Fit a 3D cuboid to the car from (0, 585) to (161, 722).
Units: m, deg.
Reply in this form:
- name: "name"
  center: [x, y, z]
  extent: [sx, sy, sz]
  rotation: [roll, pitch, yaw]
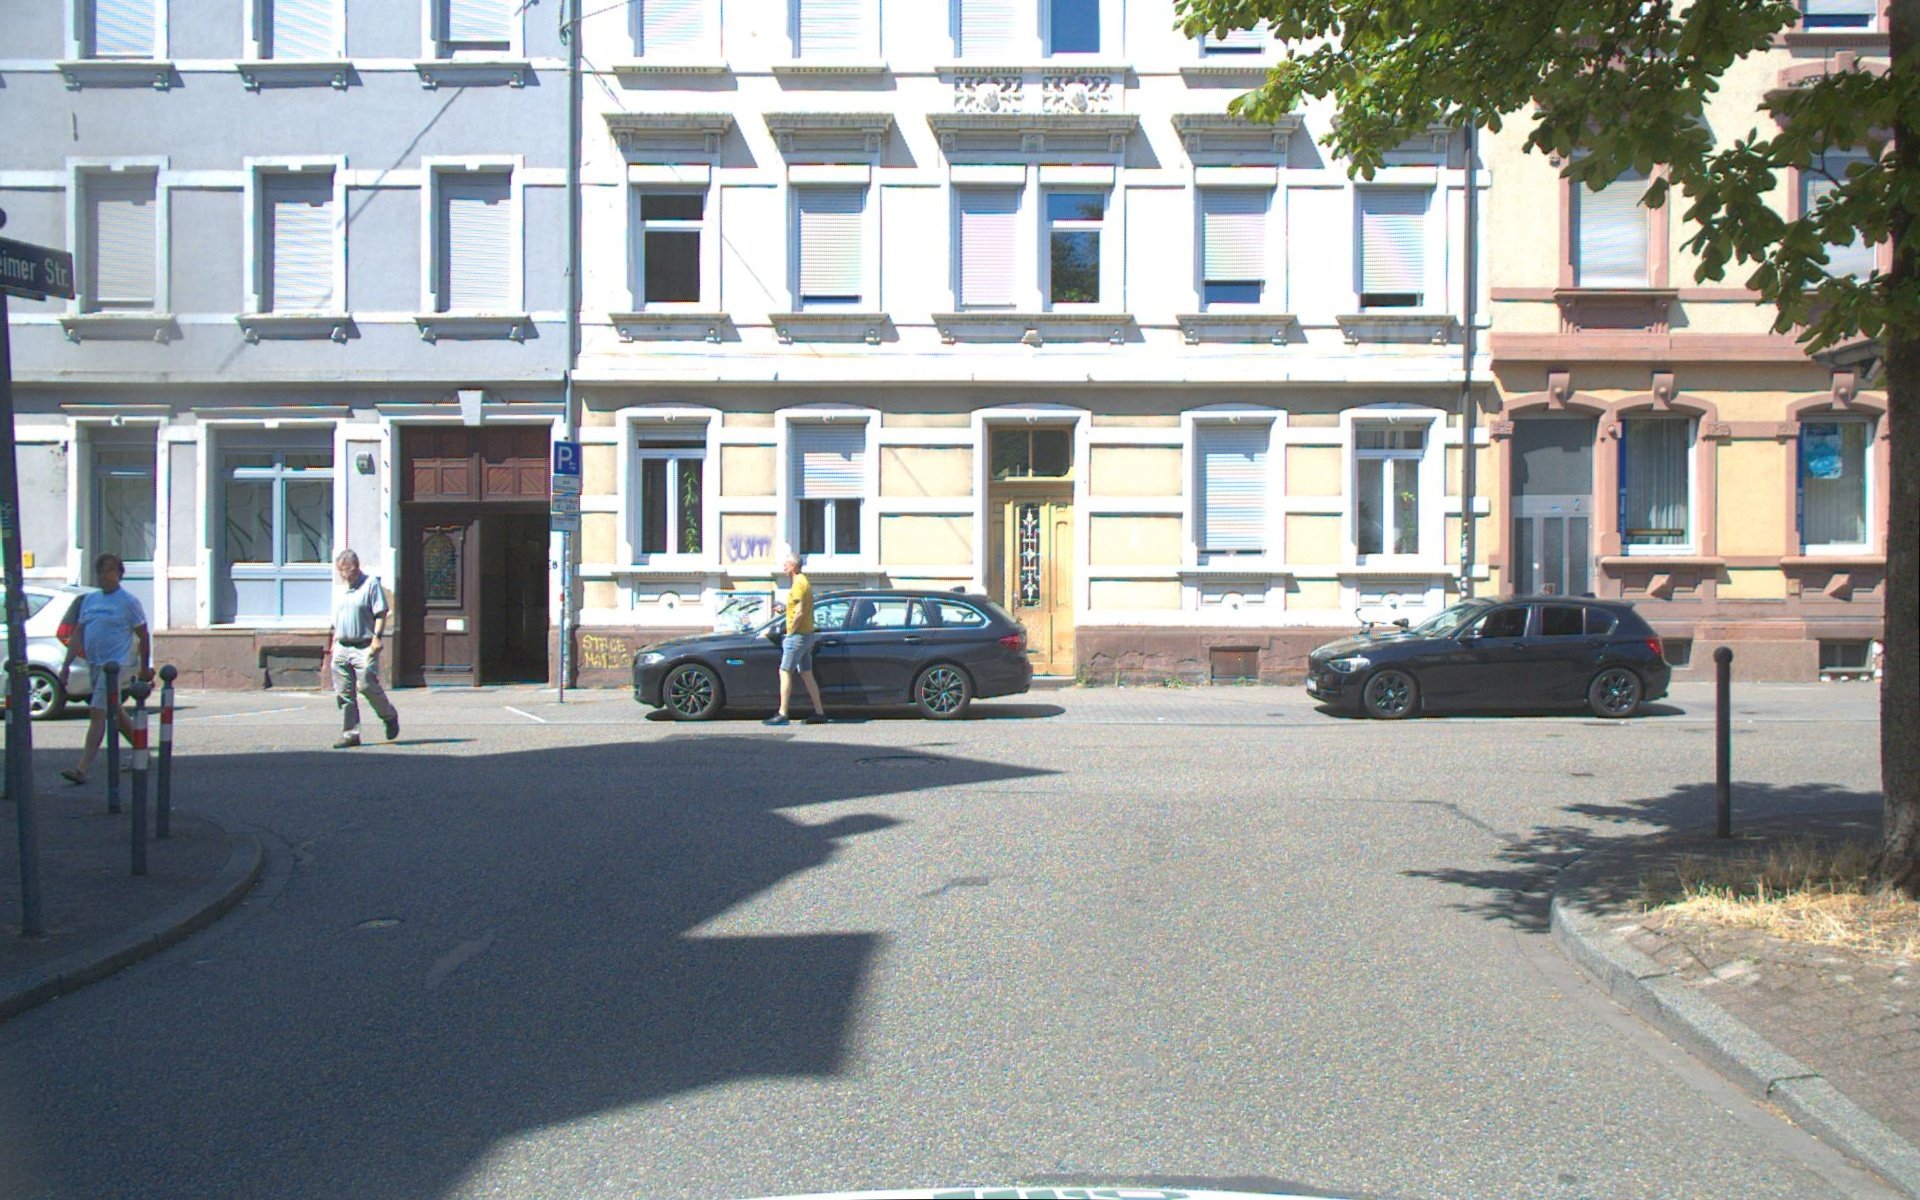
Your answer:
- name: "car"
  center: [-12.221, 0.652, 20.246]
  extent: [3.964, 1.589, 1.807]
  rotation: [-1, 0, -1]

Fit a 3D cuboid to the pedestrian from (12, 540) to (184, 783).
- name: "pedestrian"
  center: [-7.137, 0.490, 13.722]
  extent: [0.833, 1.922, 0.935]
  rotation: [-1, 0, 25]

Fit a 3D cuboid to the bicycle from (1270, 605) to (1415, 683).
- name: "bicycle"
  center: [5.435, 0.616, 23.522]
  extent: [1.964, 1.039, 0.424]
  rotation: [-1, 3, -2]

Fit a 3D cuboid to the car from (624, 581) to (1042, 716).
- name: "car"
  center: [-1.440, 0.558, 19.908]
  extent: [4.759, 1.462, 2.000]
  rotation: [-1, 0, 0]

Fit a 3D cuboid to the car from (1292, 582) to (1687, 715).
- name: "car"
  center: [6.283, 0.554, 19.957]
  extent: [4.206, 1.394, 1.807]
  rotation: [-1, 3, 0]

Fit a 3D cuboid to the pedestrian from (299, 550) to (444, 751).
- name: "pedestrian"
  center: [-5.589, 0.466, 15.743]
  extent: [0.882, 1.846, 0.961]
  rotation: [-1, 0, 17]

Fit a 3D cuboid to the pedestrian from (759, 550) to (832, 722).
- name: "pedestrian"
  center: [-1.847, 0.401, 18.620]
  extent: [0.709, 1.886, 0.685]
  rotation: [-1, 0, 1]
